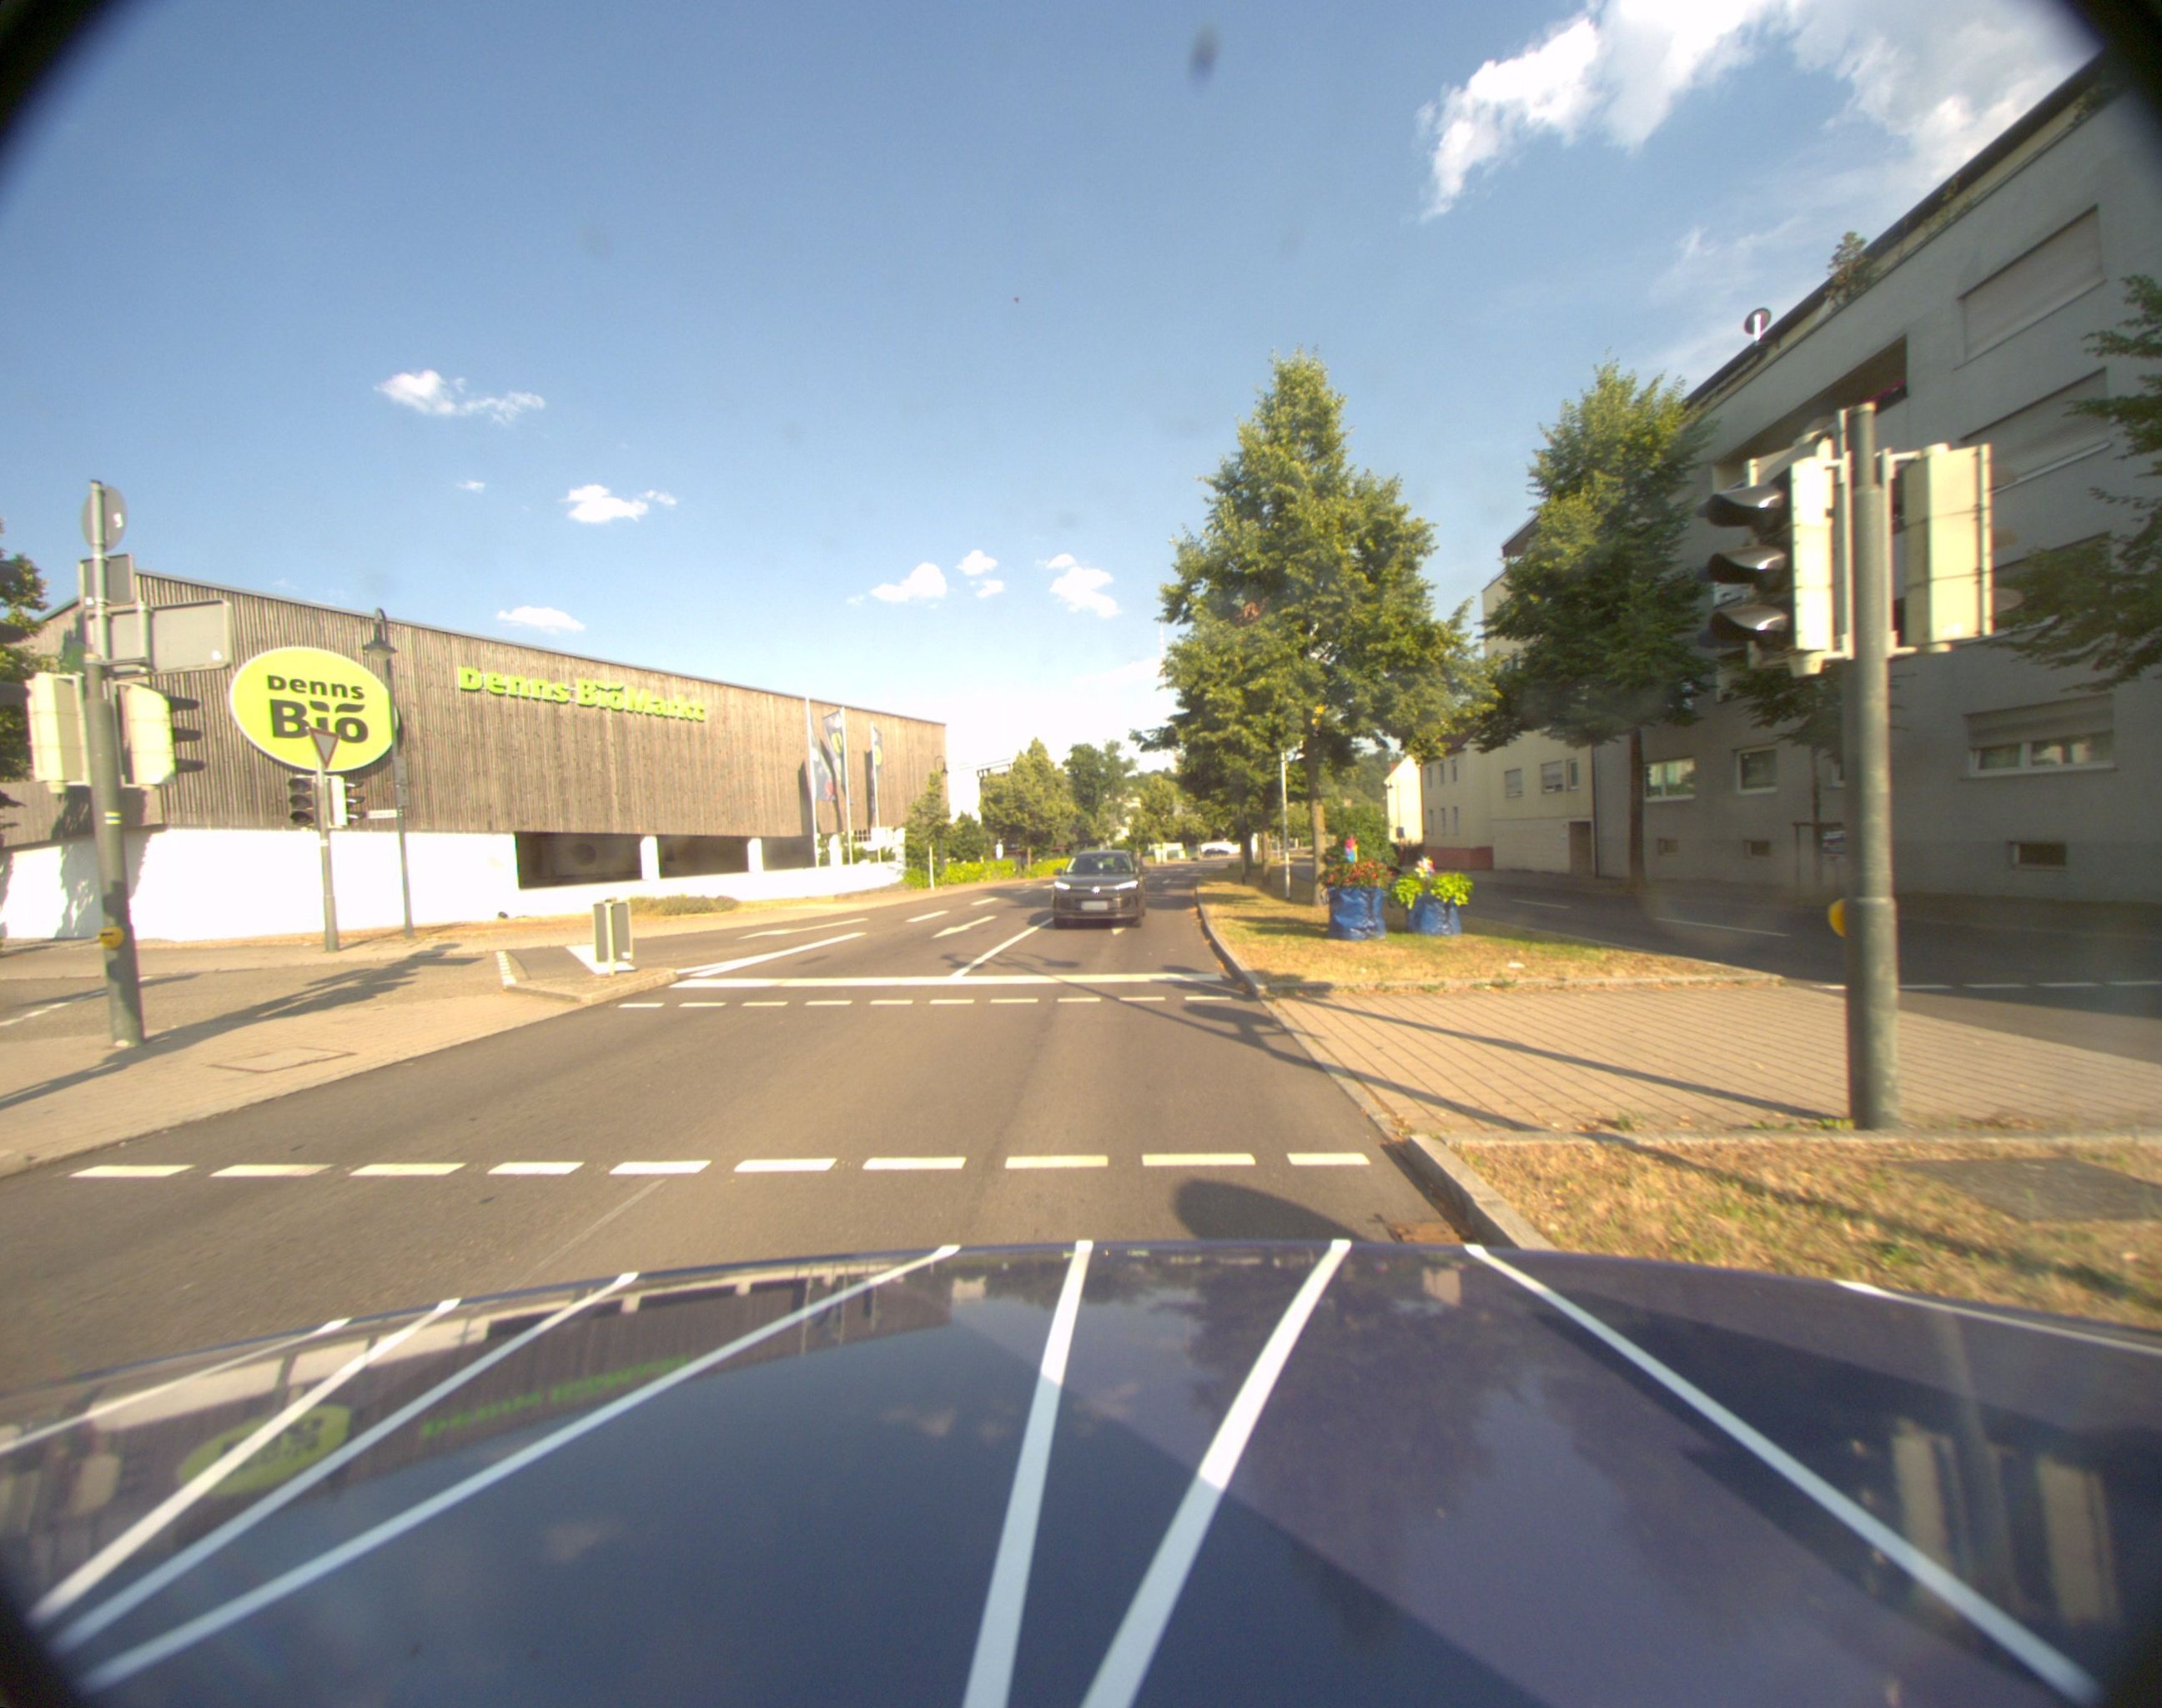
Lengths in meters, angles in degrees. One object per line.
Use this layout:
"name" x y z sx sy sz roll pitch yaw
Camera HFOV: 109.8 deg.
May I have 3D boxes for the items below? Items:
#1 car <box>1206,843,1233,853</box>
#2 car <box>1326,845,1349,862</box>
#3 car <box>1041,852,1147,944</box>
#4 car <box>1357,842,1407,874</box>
"car" 21.886 -0.908 120.255 3.829 1.412 1.941 -3 1 27
"car" 24.358 -0.063 72.249 1.855 1.477 5.001 -1 1 16
"car" 0.422 0.816 16.176 1.724 1.605 4.263 -1 1 8
"car" 17.450 0.171 44.304 1.855 1.726 4.926 -1 1 11
